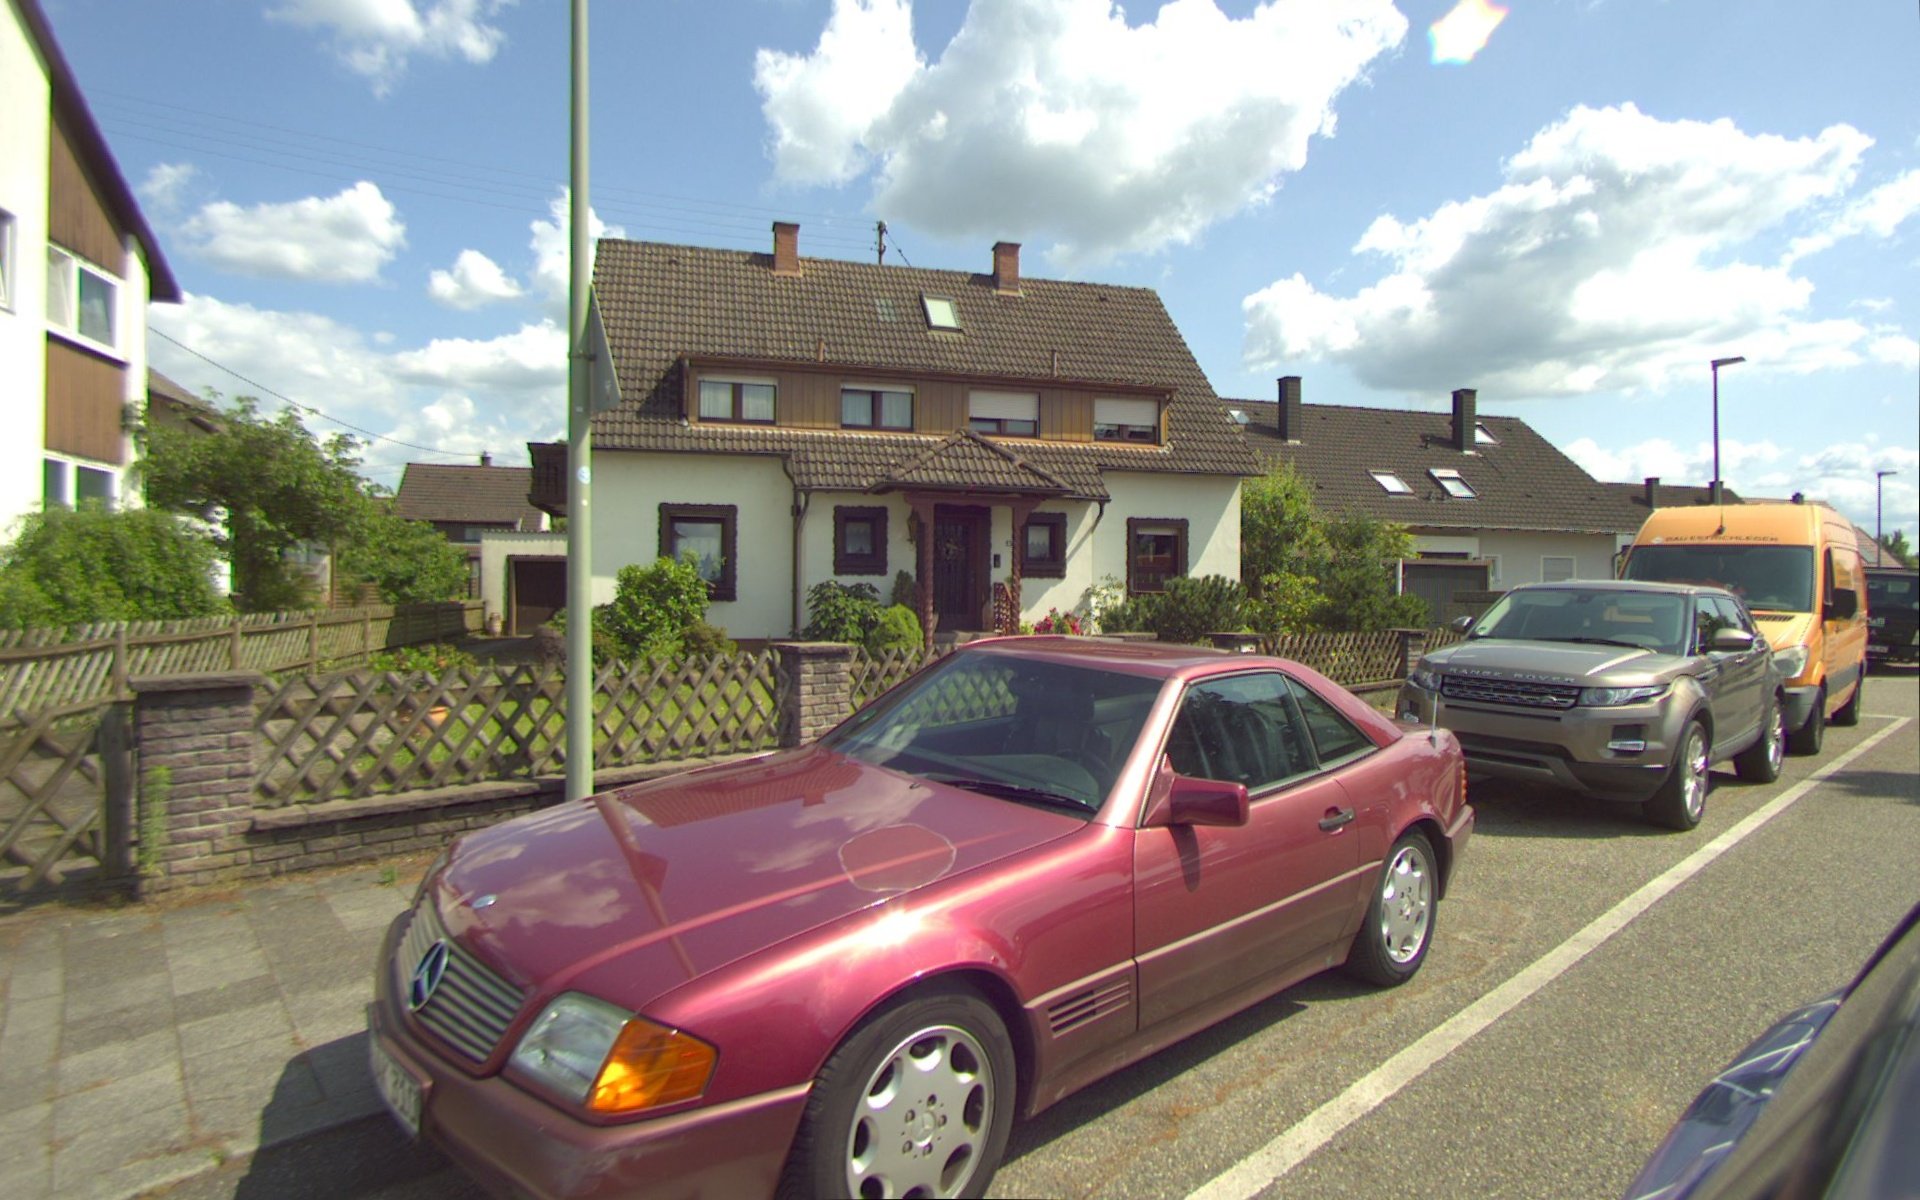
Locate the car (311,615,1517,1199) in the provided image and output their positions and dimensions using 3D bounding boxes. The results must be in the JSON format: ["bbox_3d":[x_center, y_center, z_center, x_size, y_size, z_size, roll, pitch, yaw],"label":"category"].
[{"bbox_3d":[0.328,0.765,3.707,4.361,1.352,1.671,0,0,-42],"label":"car"}]

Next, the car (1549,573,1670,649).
[{"bbox_3d":[17.626,0.254,27.364,1.857,1.889,4.941,1,0,44],"label":"car"}]

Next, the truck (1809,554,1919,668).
[{"bbox_3d":[21.863,0.226,23.364,5.792,2.327,2.527,0,3,-41],"label":"truck"}]

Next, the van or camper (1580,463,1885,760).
[{"bbox_3d":[9.251,0.089,11.871,5.673,2.698,1.995,0,0,-44],"label":"van or camper"}]

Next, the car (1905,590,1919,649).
[{"bbox_3d":[29.378,0.553,29.802,4.474,1.683,1.833,0,0,-41],"label":"car"}]

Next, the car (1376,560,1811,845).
[{"bbox_3d":[5.144,0.589,7.980,4.166,1.660,1.835,0,0,-42],"label":"car"}]
